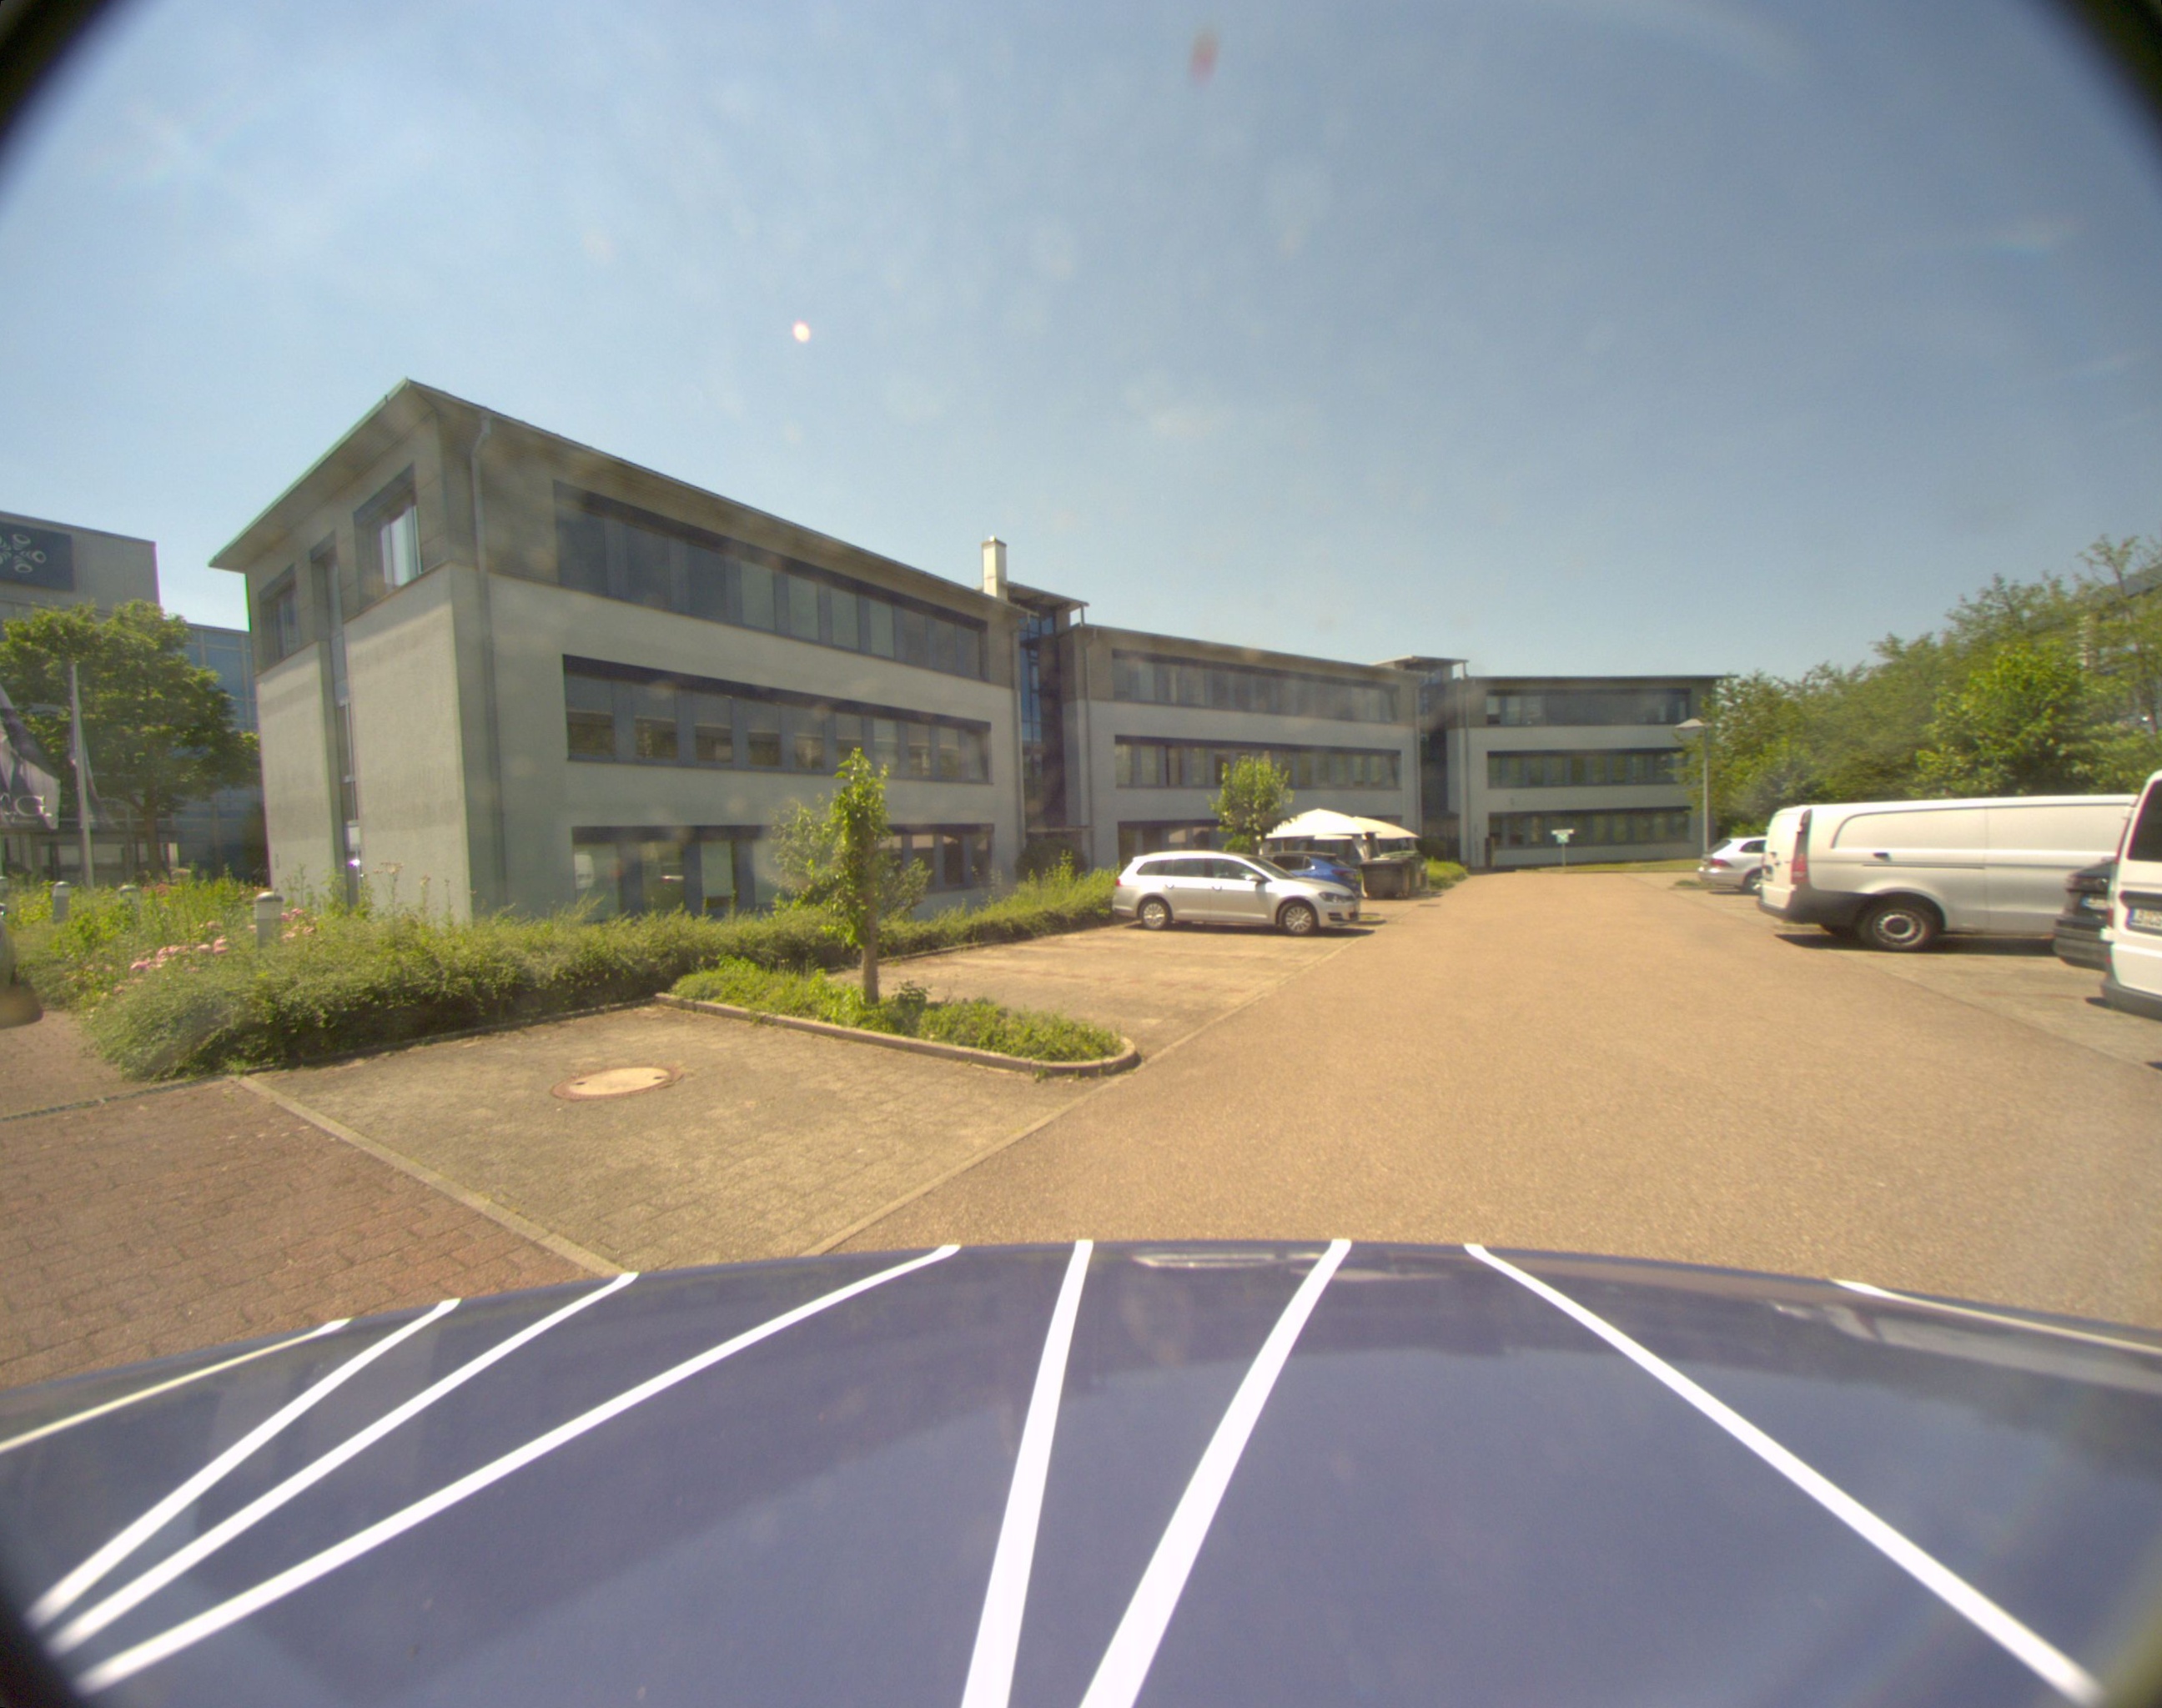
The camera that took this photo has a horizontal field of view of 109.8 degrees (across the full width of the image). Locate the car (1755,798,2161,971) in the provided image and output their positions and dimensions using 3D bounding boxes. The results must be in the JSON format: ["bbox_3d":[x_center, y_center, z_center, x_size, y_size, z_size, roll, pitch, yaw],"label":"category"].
[{"bbox_3d":[11.493,0.329,9.332,4.509,1.871,1.832,-1,1,29],"label":"car"}]

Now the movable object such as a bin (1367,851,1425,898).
[{"bbox_3d":[9.199,0.583,22.185,1.361,1.288,1.045,-1,1,35],"label":"movable object such as a bin"}]

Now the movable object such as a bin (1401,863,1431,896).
[{"bbox_3d":[10.060,0.753,22.815,0.689,0.944,0.723,-1,1,35],"label":"movable object such as a bin"}]

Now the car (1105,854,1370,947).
[{"bbox_3d":[2.891,0.760,14.248,4.508,1.489,1.832,0,1,29],"label":"car"}]

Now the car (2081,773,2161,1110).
[{"bbox_3d":[8.006,0.451,2.904,4.723,1.895,1.833,-1,1,29],"label":"car"}]

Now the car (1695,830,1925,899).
[{"bbox_3d":[17.620,0.254,18.614,3.755,1.549,1.664,-1,1,29],"label":"car"}]

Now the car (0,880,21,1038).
[{"bbox_3d":[-11.794,1.010,7.189,3.707,1.428,1.733,-1,1,31],"label":"car"}]

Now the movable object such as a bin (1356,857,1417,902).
[{"bbox_3d":[8.575,0.709,21.332,1.361,1.182,0.999,-1,1,35],"label":"movable object such as a bin"}]

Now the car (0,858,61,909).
[{"bbox_3d":[-34.163,0.927,24.034,3.989,1.510,1.753,-1,1,30],"label":"car"}]

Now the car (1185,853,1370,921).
[{"bbox_3d":[4.490,0.686,17.475,3.816,1.384,1.655,0,2,29],"label":"car"}]
